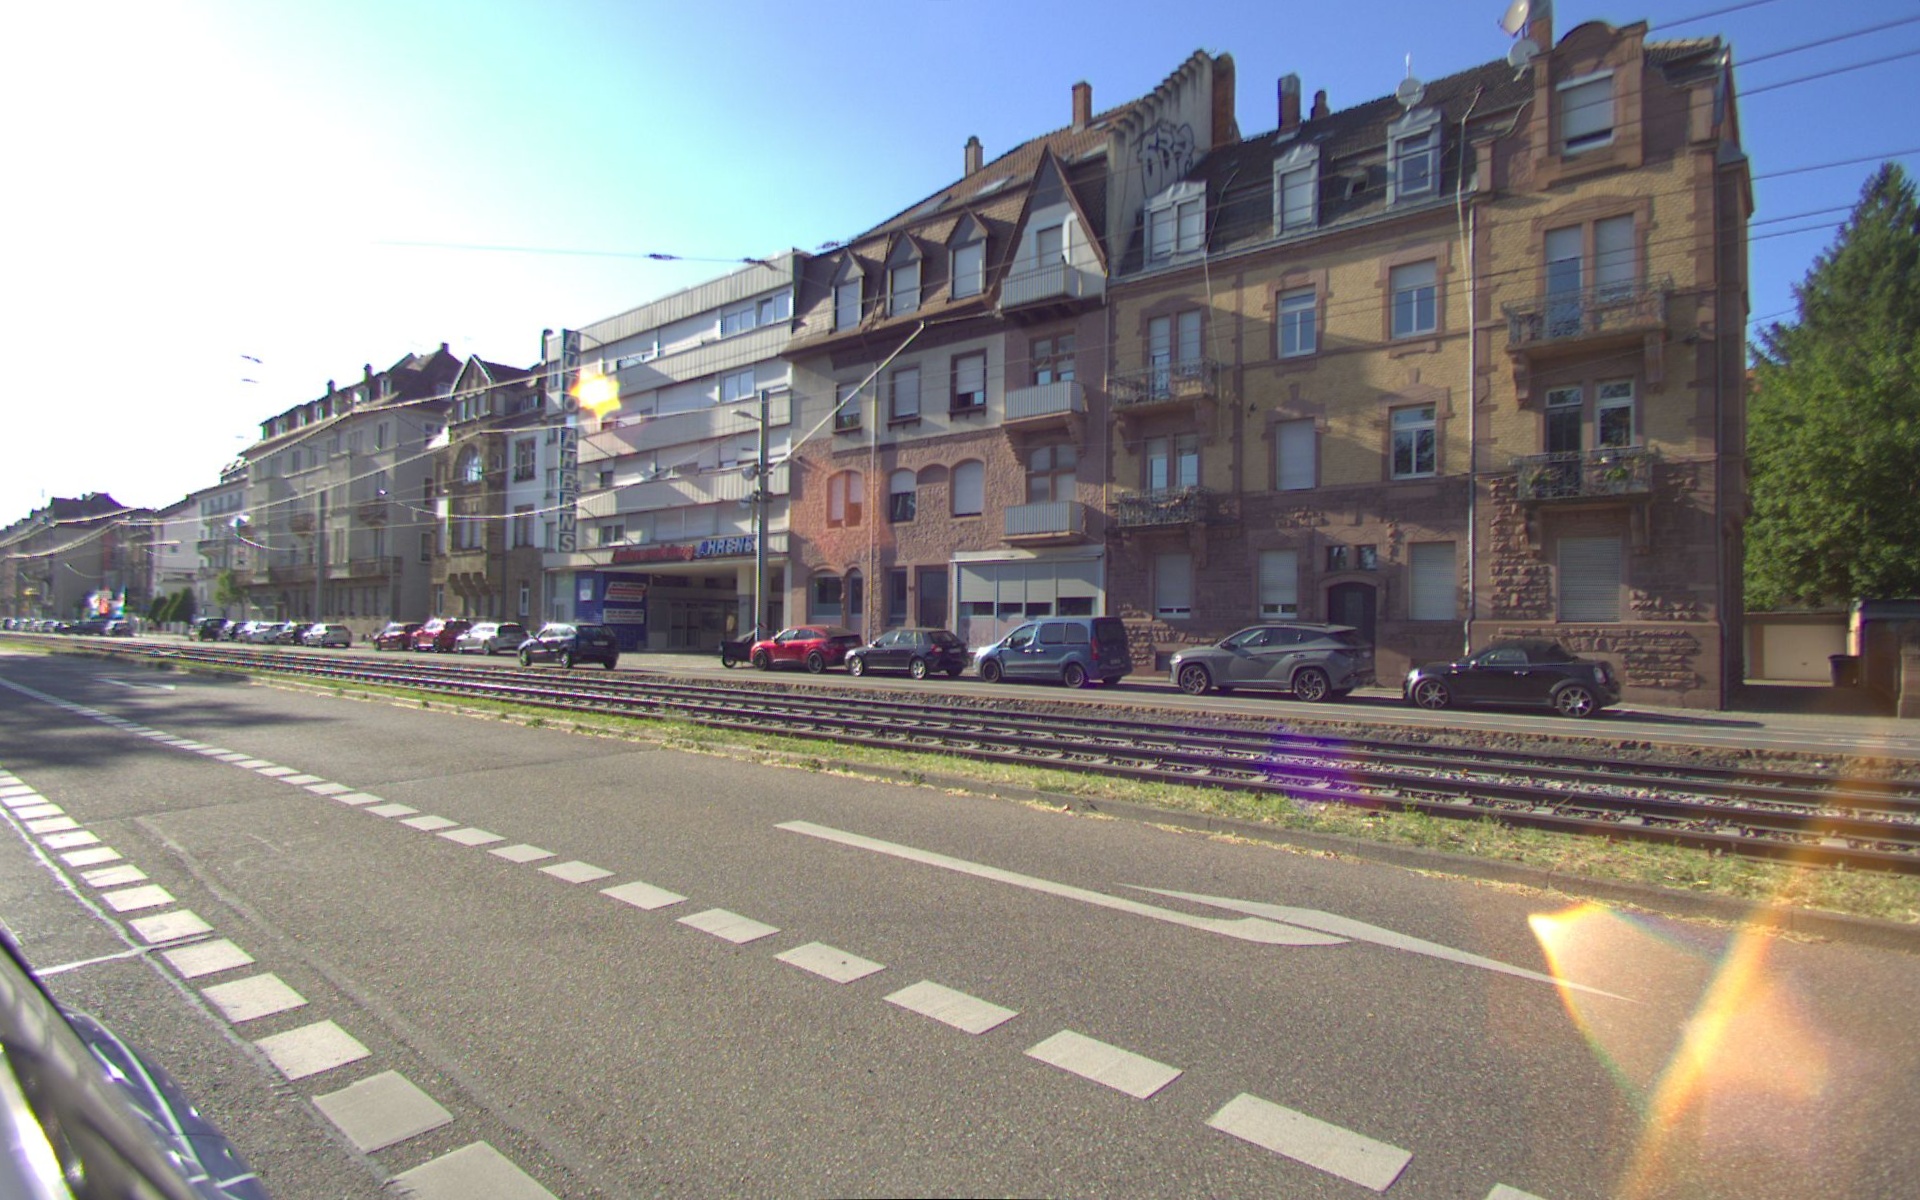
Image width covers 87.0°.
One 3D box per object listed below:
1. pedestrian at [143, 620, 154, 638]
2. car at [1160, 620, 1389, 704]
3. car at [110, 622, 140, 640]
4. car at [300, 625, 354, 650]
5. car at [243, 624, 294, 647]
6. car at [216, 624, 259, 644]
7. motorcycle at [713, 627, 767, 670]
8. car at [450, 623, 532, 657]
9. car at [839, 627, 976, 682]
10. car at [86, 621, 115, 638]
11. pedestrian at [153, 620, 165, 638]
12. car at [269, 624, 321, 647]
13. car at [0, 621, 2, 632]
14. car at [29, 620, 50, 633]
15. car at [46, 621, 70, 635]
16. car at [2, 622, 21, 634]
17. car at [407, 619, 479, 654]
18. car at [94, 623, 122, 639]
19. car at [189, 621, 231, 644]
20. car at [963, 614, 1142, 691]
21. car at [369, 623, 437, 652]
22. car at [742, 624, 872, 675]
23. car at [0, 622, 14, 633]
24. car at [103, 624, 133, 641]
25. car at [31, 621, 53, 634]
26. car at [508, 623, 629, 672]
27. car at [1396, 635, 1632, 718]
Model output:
[{"bbox_3d":[-81.450,2.928,101.567,0.677,1.803,0.716,-1,-3,40],"label":"pedestrian"},{"bbox_3d":[6.931,1.305,22.553,4.498,1.635,1.838,-1,0,39],"label":"car"},{"bbox_3d":[-79.200,2.928,96.027,3.406,1.644,1.656,-1,-1,41],"label":"car"},{"bbox_3d":[-39.085,2.285,62.473,3.821,1.490,1.779,-1,-1,41],"label":"car"},{"bbox_3d":[-46.675,2.390,68.307,3.529,1.457,1.624,-1,-1,33],"label":"car"},{"bbox_3d":[-54.255,2.543,75.991,3.821,1.490,1.779,-1,-1,41],"label":"car"},{"bbox_3d":[-7.719,1.691,35.538,0.628,1.433,1.836,-2,-1,40],"label":"motorcycle"},{"bbox_3d":[-22.216,1.860,47.873,4.377,1.510,1.837,-1,-1,39],"label":"car"},{"bbox_3d":[-1.581,1.549,29.687,3.924,1.448,1.678,-1,0,39],"label":"car"},{"bbox_3d":[-90.705,3.088,106.745,3.878,1.800,1.705,-1,-1,40],"label":"car"},{"bbox_3d":[-80.894,2.944,102.184,0.677,1.803,0.716,-1,-3,40],"label":"pedestrian"},{"bbox_3d":[-43.279,2.260,65.833,3.818,1.441,1.780,-1,-1,39],"label":"car"},{"bbox_3d":[-146.103,4.033,152.966,3.448,1.602,1.603,-1,-1,40],"label":"car"},{"bbox_3d":[-117.633,3.410,129.311,3.448,1.602,1.603,-1,-1,40],"label":"car"},{"bbox_3d":[-106.712,3.285,119.735,3.448,1.602,1.603,-1,-1,40],"label":"car"},{"bbox_3d":[-136.237,4.023,145.406,3.448,1.602,1.603,-1,-1,40],"label":"car"},{"bbox_3d":[-26.271,1.837,51.378,4.261,1.700,1.837,-1,-1,41],"label":"car"},{"bbox_3d":[-86.859,3.173,103.163,3.386,1.583,1.663,-1,-1,40],"label":"car"},{"bbox_3d":[-58.755,2.492,79.259,3.913,1.750,1.852,-1,-1,41],"label":"car"},{"bbox_3d":[2.347,1.299,26.404,4.417,1.772,1.865,-1,0,43],"label":"car"},{"bbox_3d":[-30.159,2.015,54.746,3.721,1.507,1.736,-1,-1,34],"label":"car"},{"bbox_3d":[-5.031,1.565,33.012,4.206,1.510,1.838,-1,0,39],"label":"car"},{"bbox_3d":[-140.109,4.069,148.435,3.448,1.602,1.603,-1,-1,40],"label":"car"},{"bbox_3d":[-83.040,3.157,99.798,3.386,1.583,1.663,-1,-1,40],"label":"car"},{"bbox_3d":[-113.806,3.430,125.428,3.448,1.602,1.603,-1,-1,40],"label":"car"},{"bbox_3d":[-12.677,1.503,32.692,4.162,1.468,1.802,-1,-3,39],"label":"car"},{"bbox_3d":[10.560,1.392,19.413,3.722,1.365,1.606,-1,0,39],"label":"car"}]
